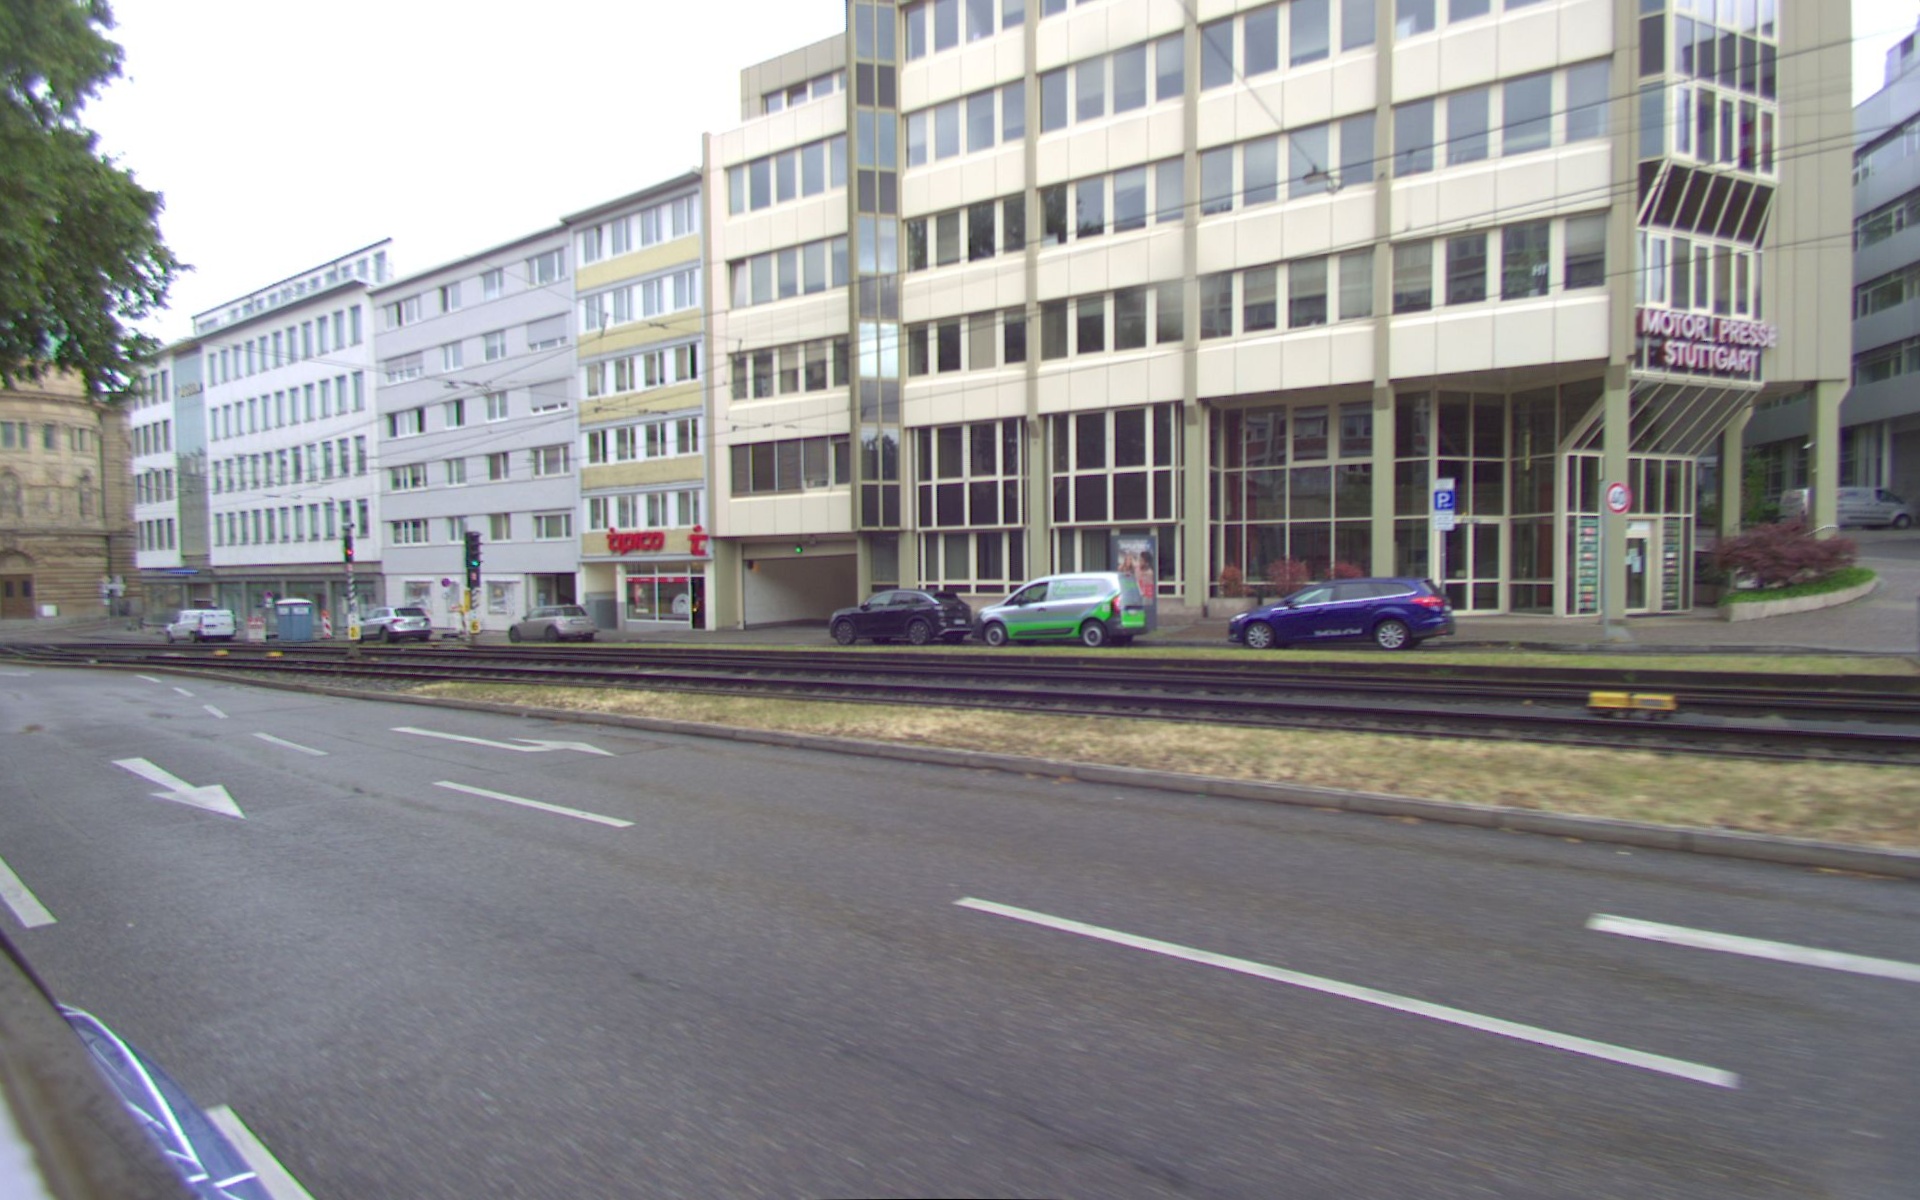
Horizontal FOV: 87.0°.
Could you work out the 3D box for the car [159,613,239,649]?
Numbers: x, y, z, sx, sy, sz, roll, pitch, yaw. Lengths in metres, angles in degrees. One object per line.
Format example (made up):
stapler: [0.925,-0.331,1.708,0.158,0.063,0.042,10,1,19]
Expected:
car: [-43.626,1.748,57.979,5.117,1.856,1.978,0,3,34]

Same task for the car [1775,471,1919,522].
car: [40.464,-4.702,46.145,4.779,2.028,1.996,-2,3,8]

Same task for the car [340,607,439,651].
car: [-25.233,1.282,44.700,4.685,1.686,1.976,-2,2,36]

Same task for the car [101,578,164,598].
car: [-67.825,-0.974,83.022,1.758,1.408,4.332,-2,3,-4]

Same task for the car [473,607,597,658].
car: [-15.988,1.179,38.005,4.682,1.686,1.978,0,3,33]

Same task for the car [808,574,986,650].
car: [-1.796,0.300,28.225,4.682,1.863,1.978,0,3,33]

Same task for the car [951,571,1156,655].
car: [2.291,0.291,25.283,4.682,1.863,1.978,0,3,33]

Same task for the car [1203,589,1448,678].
car: [7.665,0.638,21.353,4.536,1.593,1.978,0,3,33]
